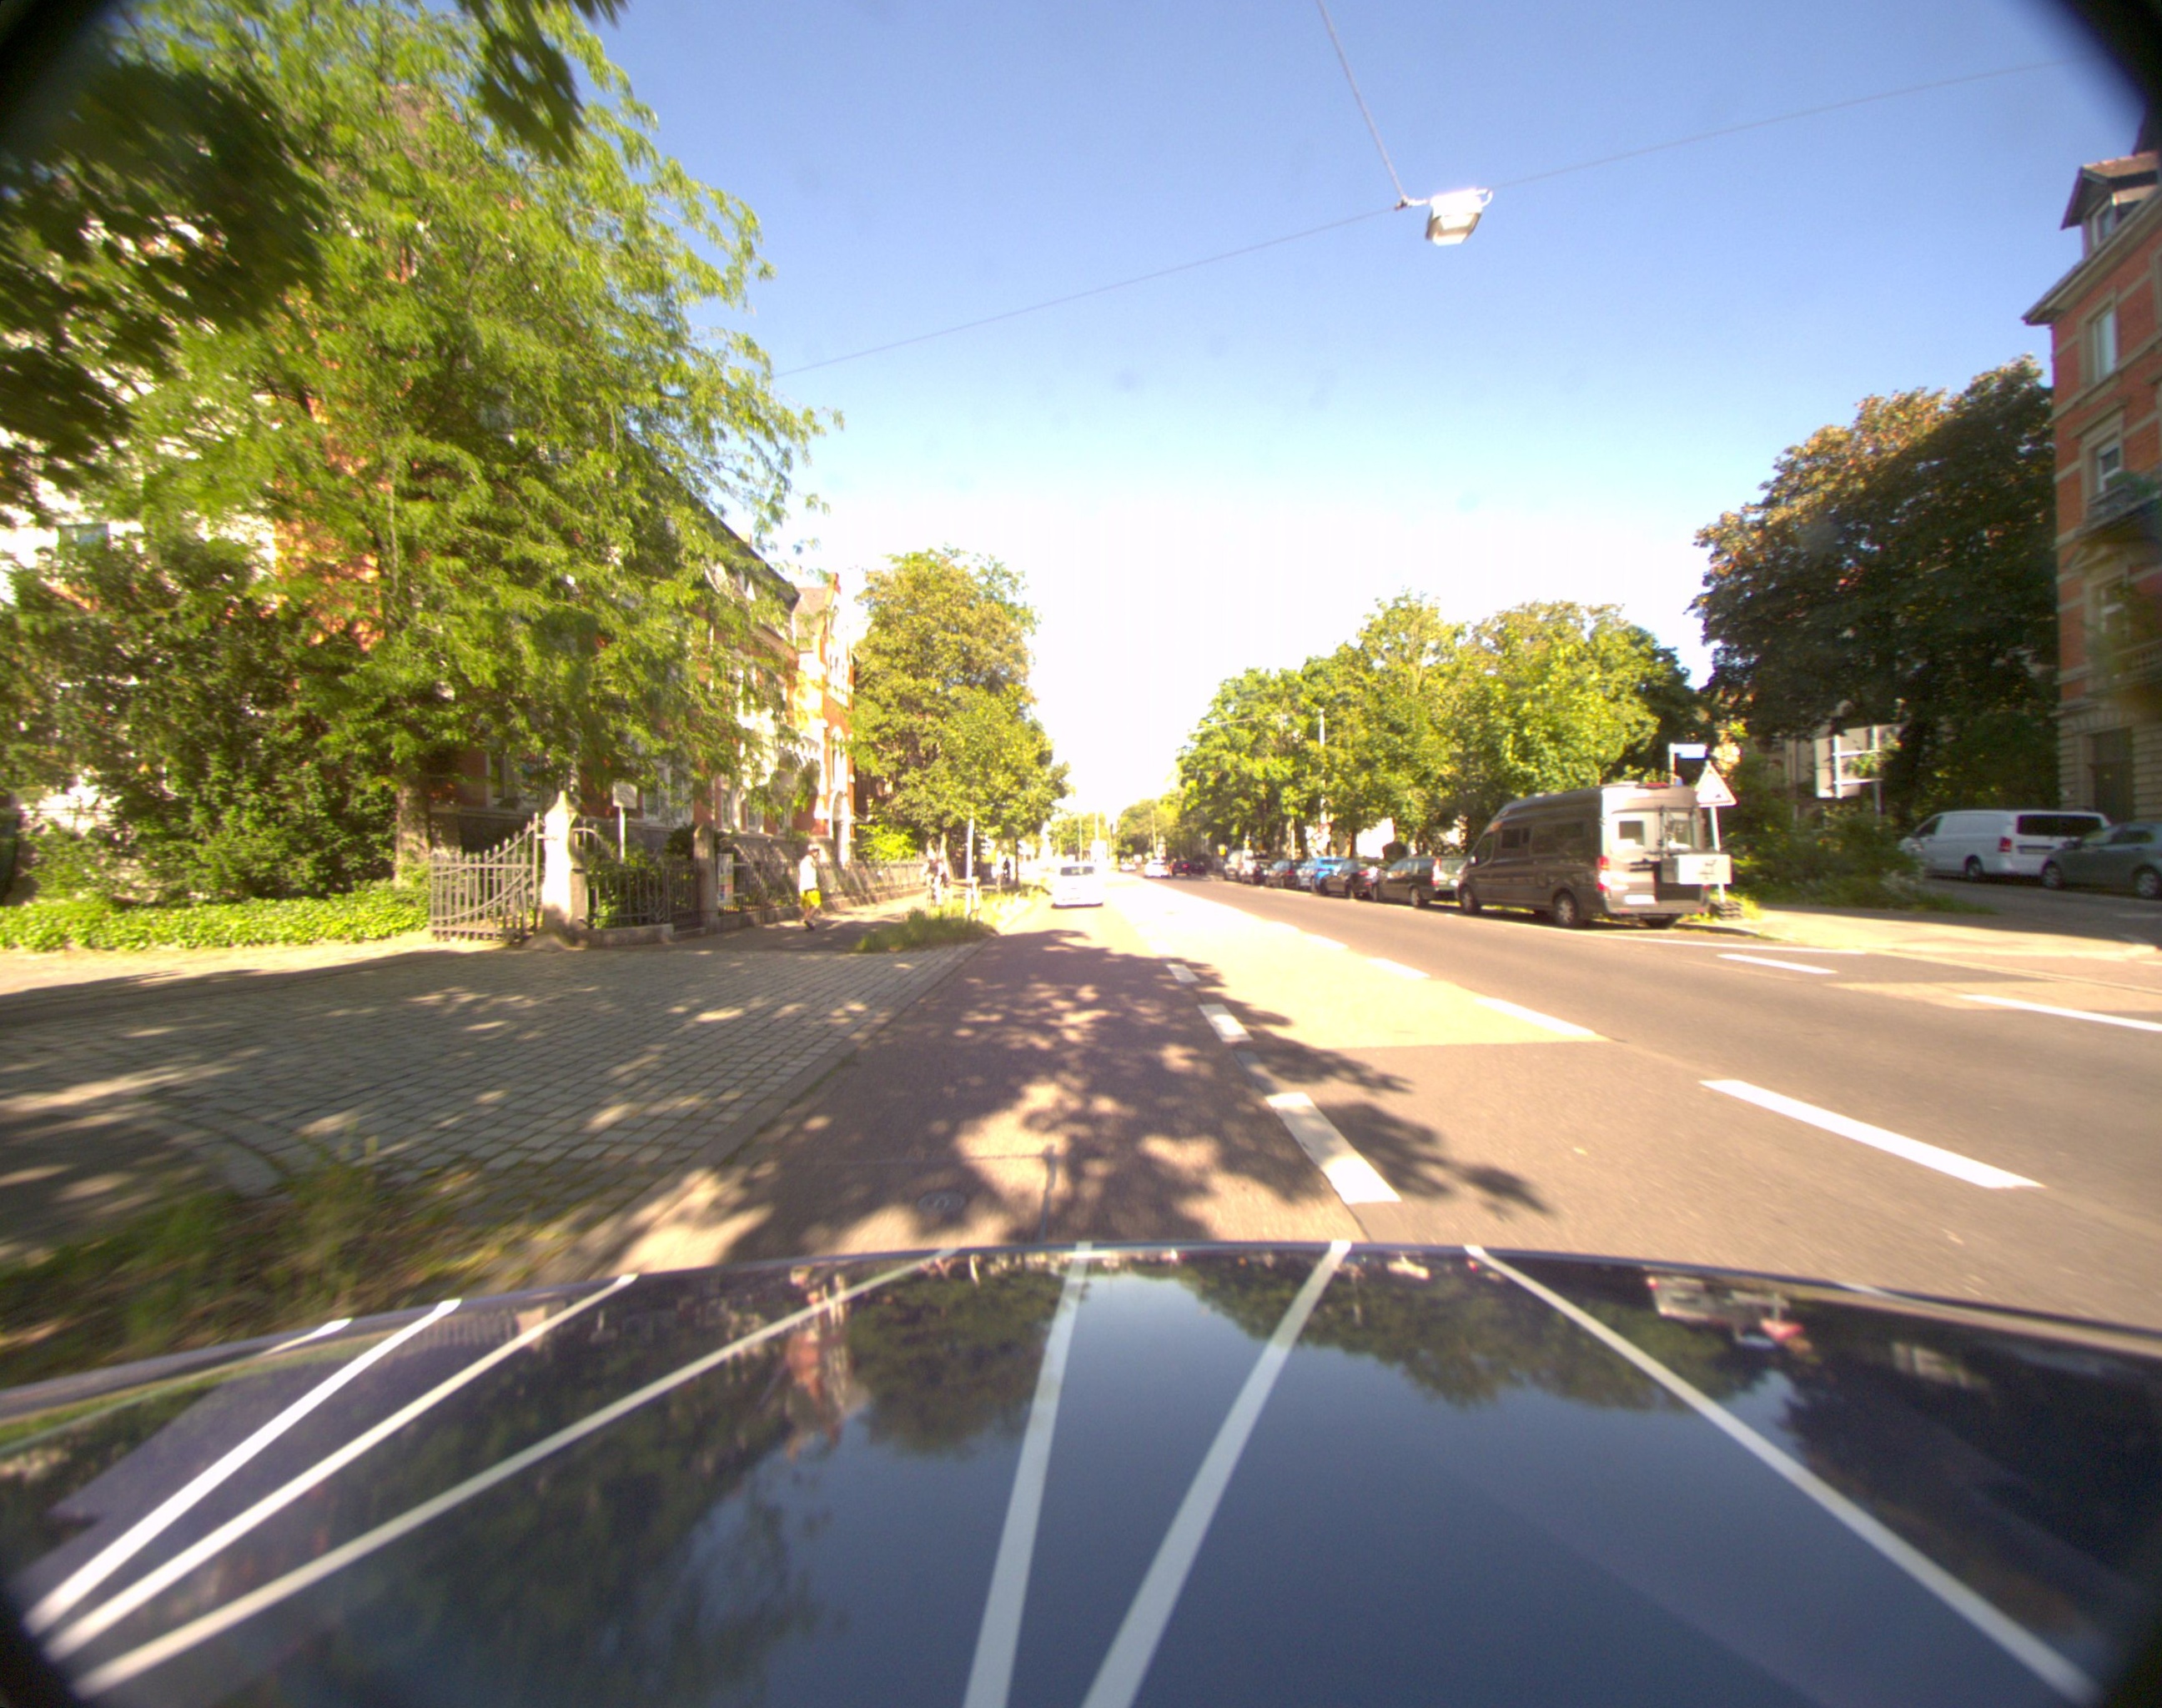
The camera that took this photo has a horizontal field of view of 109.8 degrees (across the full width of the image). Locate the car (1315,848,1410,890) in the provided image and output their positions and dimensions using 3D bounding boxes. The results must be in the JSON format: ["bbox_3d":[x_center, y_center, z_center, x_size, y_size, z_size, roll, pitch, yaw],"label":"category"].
[{"bbox_3d":[9.961,0.498,27.280,1.785,1.405,4.405,0,0,0],"label":"car"}]

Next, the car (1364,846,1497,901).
[{"bbox_3d":[10.078,0.510,22.362,1.698,1.448,4.663,0,0,-1],"label":"car"}]

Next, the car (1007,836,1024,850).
[{"bbox_3d":[-7.339,-1.176,85.413,1.847,1.432,4.104,1,0,-4],"label":"car"}]

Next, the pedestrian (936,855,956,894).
[{"bbox_3d":[-5.831,0.863,32.846,0.696,1.649,0.820,2,1,-1],"label":"pedestrian"}]

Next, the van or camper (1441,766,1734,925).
[{"bbox_3d":[10.305,-0.142,16.324,2.222,2.723,6.088,-1,0,0],"label":"van or camper"}]

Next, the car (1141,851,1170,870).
[{"bbox_3d":[5.952,0.511,61.150,1.923,1.411,4.225,-1,0,0],"label":"car"}]

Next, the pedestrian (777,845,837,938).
[{"bbox_3d":[-5.465,0.726,15.150,0.748,1.777,0.812,2,1,38],"label":"pedestrian"}]

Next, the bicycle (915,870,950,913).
[{"bbox_3d":[-4.412,1.091,22.626,0.654,1.169,1.843,2,0,0],"label":"bicycle"}]

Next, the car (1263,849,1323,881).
[{"bbox_3d":[10.415,0.477,37.671,1.594,1.474,4.270,0,1,-3],"label":"car"}]

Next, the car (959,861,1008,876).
[{"bbox_3d":[-9.517,1.405,74.427,4.417,1.409,2.047,0,0,1],"label":"car"}]

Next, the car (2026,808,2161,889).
[{"bbox_3d":[21.469,-0.147,15.162,1.860,1.504,3.535,0,2,25],"label":"car"}]

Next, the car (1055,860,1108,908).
[{"bbox_3d":[0.056,0.960,25.952,1.653,1.449,3.897,0,0,1],"label":"car"}]

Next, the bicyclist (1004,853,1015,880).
[{"bbox_3d":[-4.576,0.799,48.991,0.622,1.680,0.820,2,0,-3],"label":"bicyclist"}]

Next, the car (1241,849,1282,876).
[{"bbox_3d":[10.415,0.445,44.172,1.467,1.493,3.958,0,1,0],"label":"car"}]

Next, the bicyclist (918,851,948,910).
[{"bbox_3d":[-4.408,0.779,22.684,0.647,1.685,0.889,2,0,0],"label":"bicyclist"}]

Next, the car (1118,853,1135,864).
[{"bbox_3d":[6.410,0.575,107.517,1.843,1.482,3.779,-1,0,-4],"label":"car"}]

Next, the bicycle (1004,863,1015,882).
[{"bbox_3d":[-4.589,1.156,48.993,0.617,1.169,1.918,2,0,-4],"label":"bicycle"}]

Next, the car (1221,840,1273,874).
[{"bbox_3d":[10.691,0.187,49.209,1.989,2.024,4.873,1,0,-4],"label":"car"}]

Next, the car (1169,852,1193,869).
[{"bbox_3d":[8.987,0.537,68.531,1.596,1.441,4.133,-1,0,0],"label":"car"}]

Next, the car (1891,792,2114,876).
[{"bbox_3d":[23.415,-0.531,19.601,1.860,1.903,4.458,0,2,25],"label":"car"}]

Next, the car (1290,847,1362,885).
[{"bbox_3d":[10.524,0.471,32.962,1.784,1.529,4.559,0,0,2],"label":"car"}]
